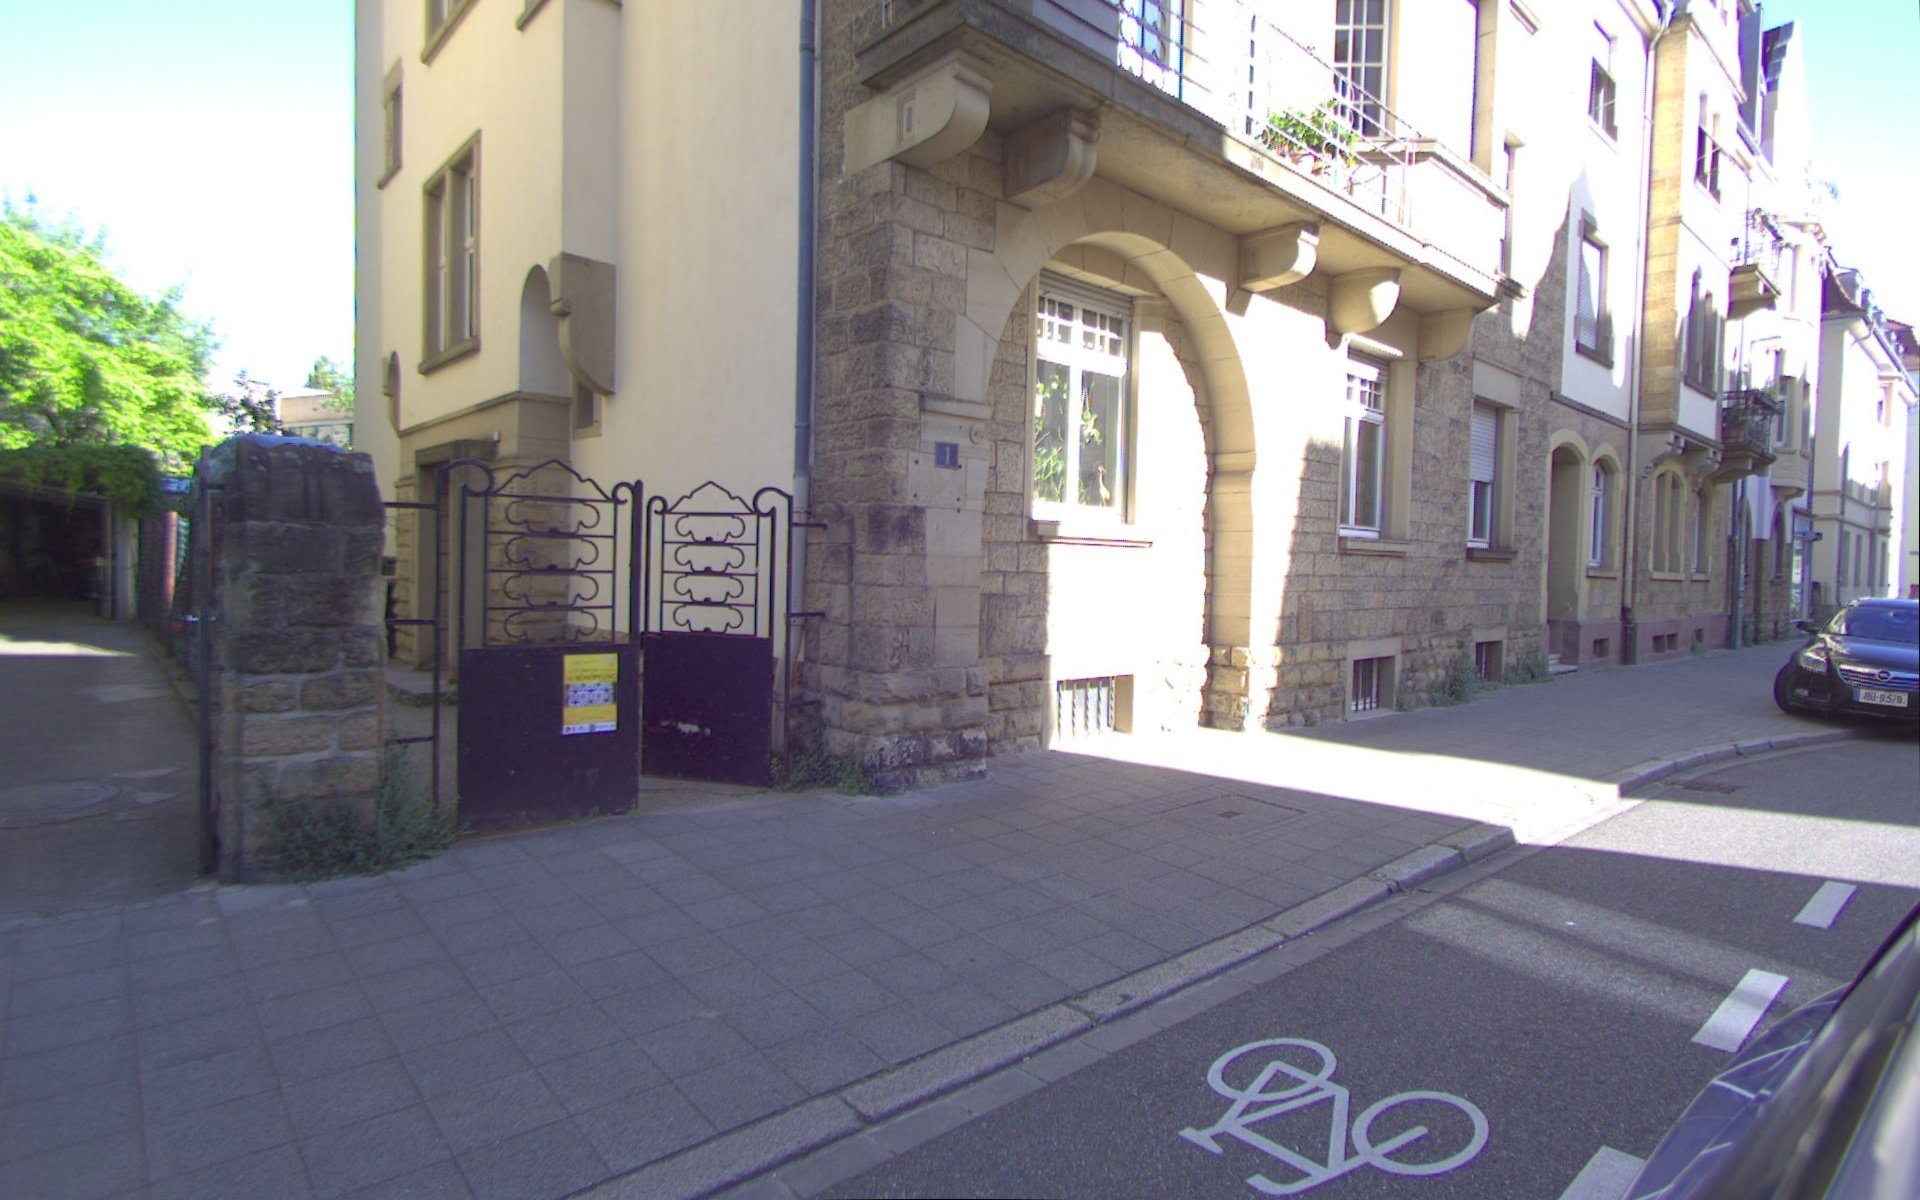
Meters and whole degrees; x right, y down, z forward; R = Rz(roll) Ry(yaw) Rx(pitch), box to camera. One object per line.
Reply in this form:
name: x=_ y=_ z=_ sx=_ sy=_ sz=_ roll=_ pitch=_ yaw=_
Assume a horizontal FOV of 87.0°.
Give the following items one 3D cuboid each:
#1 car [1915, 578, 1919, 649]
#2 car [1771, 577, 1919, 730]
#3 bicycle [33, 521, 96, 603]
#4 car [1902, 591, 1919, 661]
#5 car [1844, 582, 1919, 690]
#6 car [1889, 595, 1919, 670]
car: x=26.237 y=0.327 z=26.049 sx=4.247 sy=1.860 sz=2.004 roll=-1 pitch=4 yaw=-42
car: x=11.499 y=0.562 z=12.177 sx=4.043 sy=1.526 sz=2.023 roll=-1 pitch=5 yaw=-42
bicycle: x=-18.299 y=-0.813 z=20.724 sx=0.903 sy=1.530 sz=2.672 roll=0 pitch=4 yaw=-41
car: x=22.174 y=0.573 z=22.192 sx=4.247 sy=1.440 sz=1.823 roll=-1 pitch=4 yaw=-42
car: x=15.534 y=0.558 z=15.866 sx=4.247 sy=1.527 sz=2.004 roll=0 pitch=3 yaw=-42
car: x=18.797 y=0.611 z=18.970 sx=3.667 sy=1.295 sz=1.659 roll=-1 pitch=4 yaw=-42
